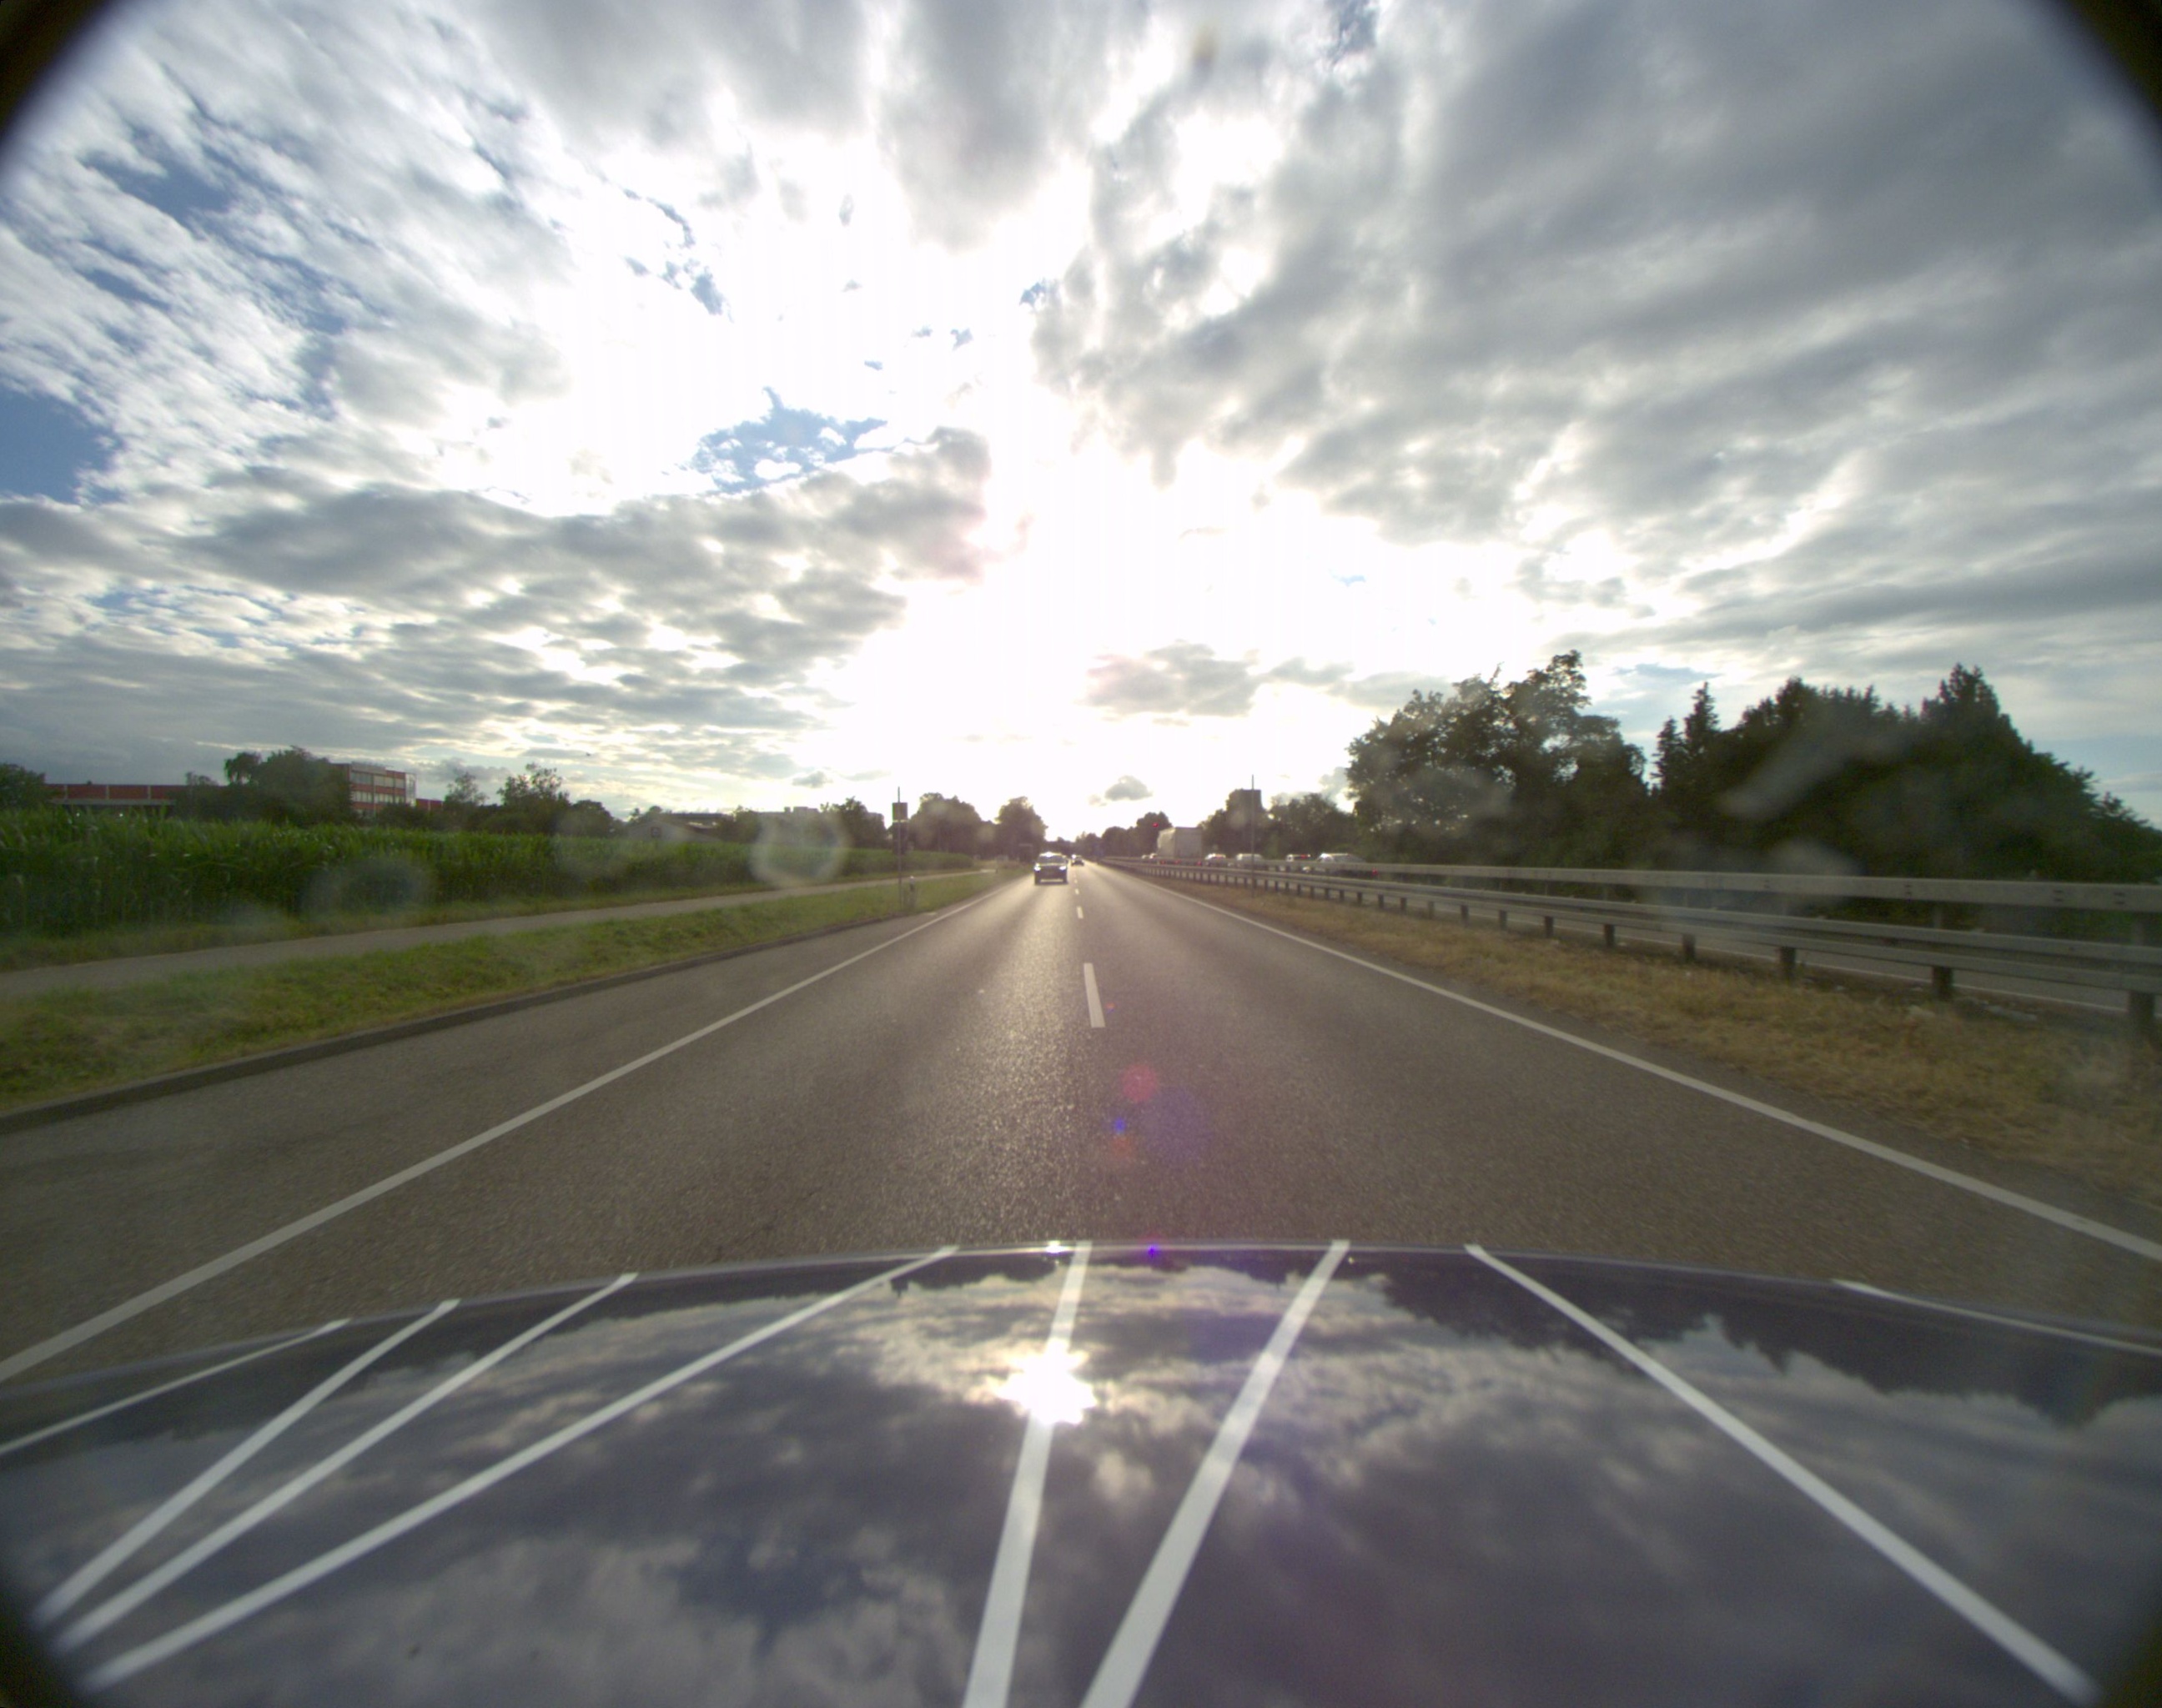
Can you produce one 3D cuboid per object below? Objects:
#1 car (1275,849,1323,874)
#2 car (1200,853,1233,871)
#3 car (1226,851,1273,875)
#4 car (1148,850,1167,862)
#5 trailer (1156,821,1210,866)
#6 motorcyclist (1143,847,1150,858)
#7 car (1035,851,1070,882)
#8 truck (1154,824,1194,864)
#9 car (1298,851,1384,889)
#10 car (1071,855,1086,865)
[{"bbox_3d":[14.247,0.477,49.823,1.871,1.555,4.151,0,0,-1],"label":"car"},{"bbox_3d":[10.649,0.595,60.067,1.793,1.378,4.159,0,0,-1],"label":"car"},{"bbox_3d":[10.748,0.546,48.717,1.871,1.469,4.824,0,0,-1],"label":"car"},{"bbox_3d":[10.155,0.264,101.164,1.912,1.600,4.404,0,0,-1],"label":"car"},{"bbox_3d":[10.126,-0.969,77.300,3.474,4.126,13.914,1,0,-1],"label":"trailer"},{"bbox_3d":[9.979,-0.258,116.323,0.918,1.699,1.275,1,1,0],"label":"motorcyclist"},{"bbox_3d":[-1.619,0.681,44.025,1.849,1.640,4.480,-2,0,-1],"label":"car"},{"bbox_3d":[10.040,-1.034,82.814,3.483,4.126,6.048,1,0,-1],"label":"truck"},{"bbox_3d":[10.825,0.617,32.046,1.871,1.469,4.934,0,0,-1],"label":"car"},{"bbox_3d":[-0.298,0.886,106.620,1.998,1.320,4.000,1,0,1],"label":"car"}]
